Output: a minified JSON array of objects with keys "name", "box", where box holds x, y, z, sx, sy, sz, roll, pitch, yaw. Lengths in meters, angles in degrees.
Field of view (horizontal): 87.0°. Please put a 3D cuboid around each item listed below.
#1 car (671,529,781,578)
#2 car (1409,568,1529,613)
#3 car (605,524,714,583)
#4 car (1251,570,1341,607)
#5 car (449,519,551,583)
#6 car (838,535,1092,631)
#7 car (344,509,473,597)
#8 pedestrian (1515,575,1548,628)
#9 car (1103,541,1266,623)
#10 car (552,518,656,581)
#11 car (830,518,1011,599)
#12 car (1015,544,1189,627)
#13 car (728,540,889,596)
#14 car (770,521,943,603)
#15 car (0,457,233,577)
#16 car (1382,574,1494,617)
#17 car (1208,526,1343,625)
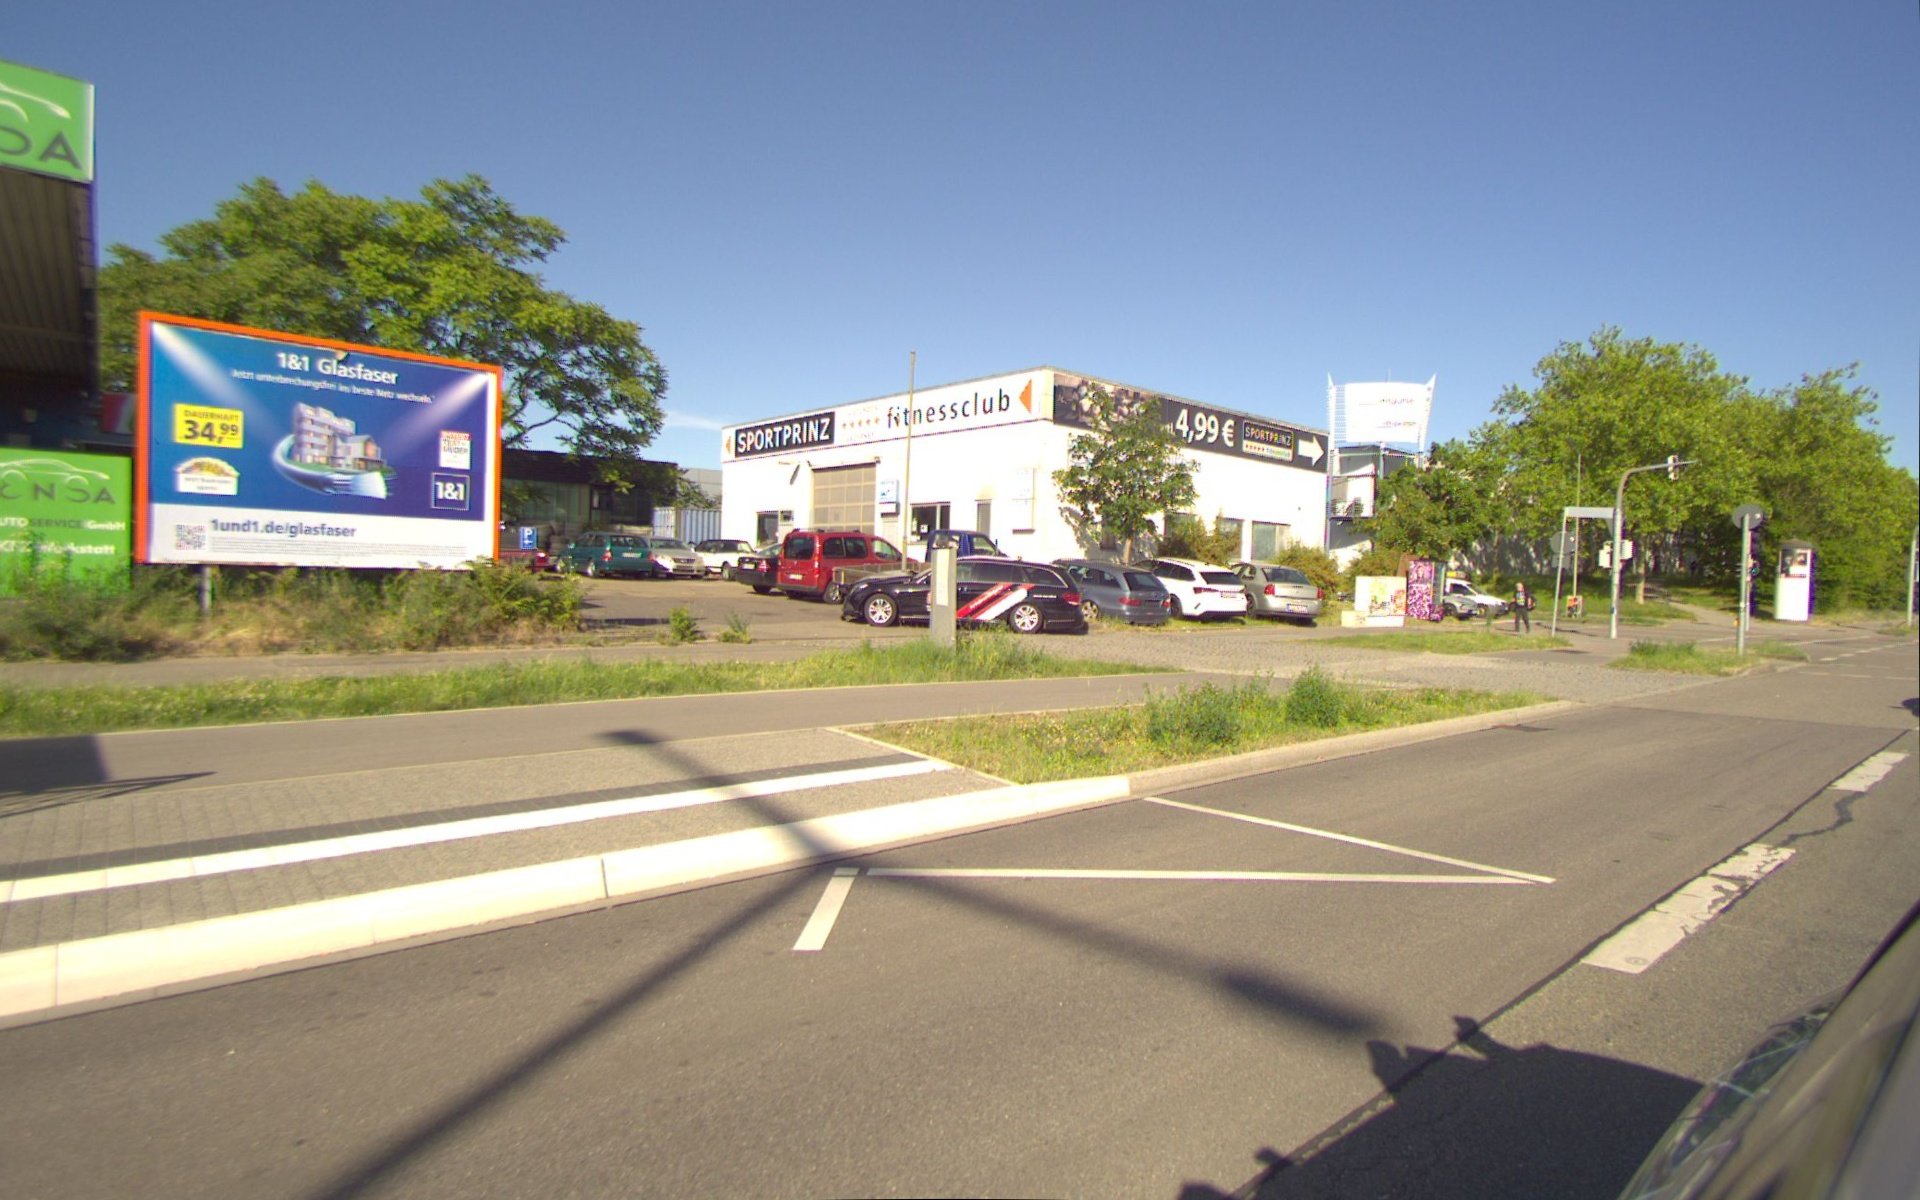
[{"name":"car","box":[-8.196,-1.637,35.223,1.959,1.425,4.213,0,4,-41]},{"name":"car","box":[23.821,-0.471,47.516,1.839,1.958,4.691,0,2,-39]},{"name":"car","box":[-10.142,-1.627,33.994,1.960,1.537,4.216,-3,10,-41]},{"name":"car","box":[16.778,-0.617,50.677,1.776,1.608,3.928,-2,4,-39]},{"name":"car","box":[-13.012,-1.430,28.537,1.637,1.390,3.775,-3,10,-41]},{"name":"car","box":[0.114,-0.386,20.146,4.748,1.549,1.901,4,3,3]},{"name":"car","box":[-12.568,-1.135,22.970,1.817,1.564,3.775,-3,10,-41]},{"name":"pedestrian","box":[19.340,0.042,34.239,0.607,1.737,0.759,0,2,-41]},{"name":"car","box":[5.523,-0.496,25.356,1.690,1.468,3.944,1,8,-29]},{"name":"car","box":[-11.146,-1.637,31.509,1.637,1.617,4.214,-3,8,-41]},{"name":"car","box":[-0.916,-1.028,25.508,4.519,1.803,1.686,-1,6,-43]},{"name":"car","box":[3.168,-0.391,23.136,1.808,1.304,3.620,-1,10,-39]},{"name":"car","box":[-4.151,-0.948,28.117,4.147,1.266,1.771,-4,10,-43]},{"name":"car","box":[-2.660,-1.002,26.457,4.146,1.883,1.897,-1,6,-43]},{"name":"car","box":[-13.809,-1.222,15.717,3.930,1.668,1.997,0,1,-41]},{"name":"car","box":[21.275,-0.256,45.141,1.868,1.665,4.101,-2,4,-39]},{"name":"car","box":[8.309,-0.746,27.083,1.652,2.035,4.013,5,7,-9]}]
